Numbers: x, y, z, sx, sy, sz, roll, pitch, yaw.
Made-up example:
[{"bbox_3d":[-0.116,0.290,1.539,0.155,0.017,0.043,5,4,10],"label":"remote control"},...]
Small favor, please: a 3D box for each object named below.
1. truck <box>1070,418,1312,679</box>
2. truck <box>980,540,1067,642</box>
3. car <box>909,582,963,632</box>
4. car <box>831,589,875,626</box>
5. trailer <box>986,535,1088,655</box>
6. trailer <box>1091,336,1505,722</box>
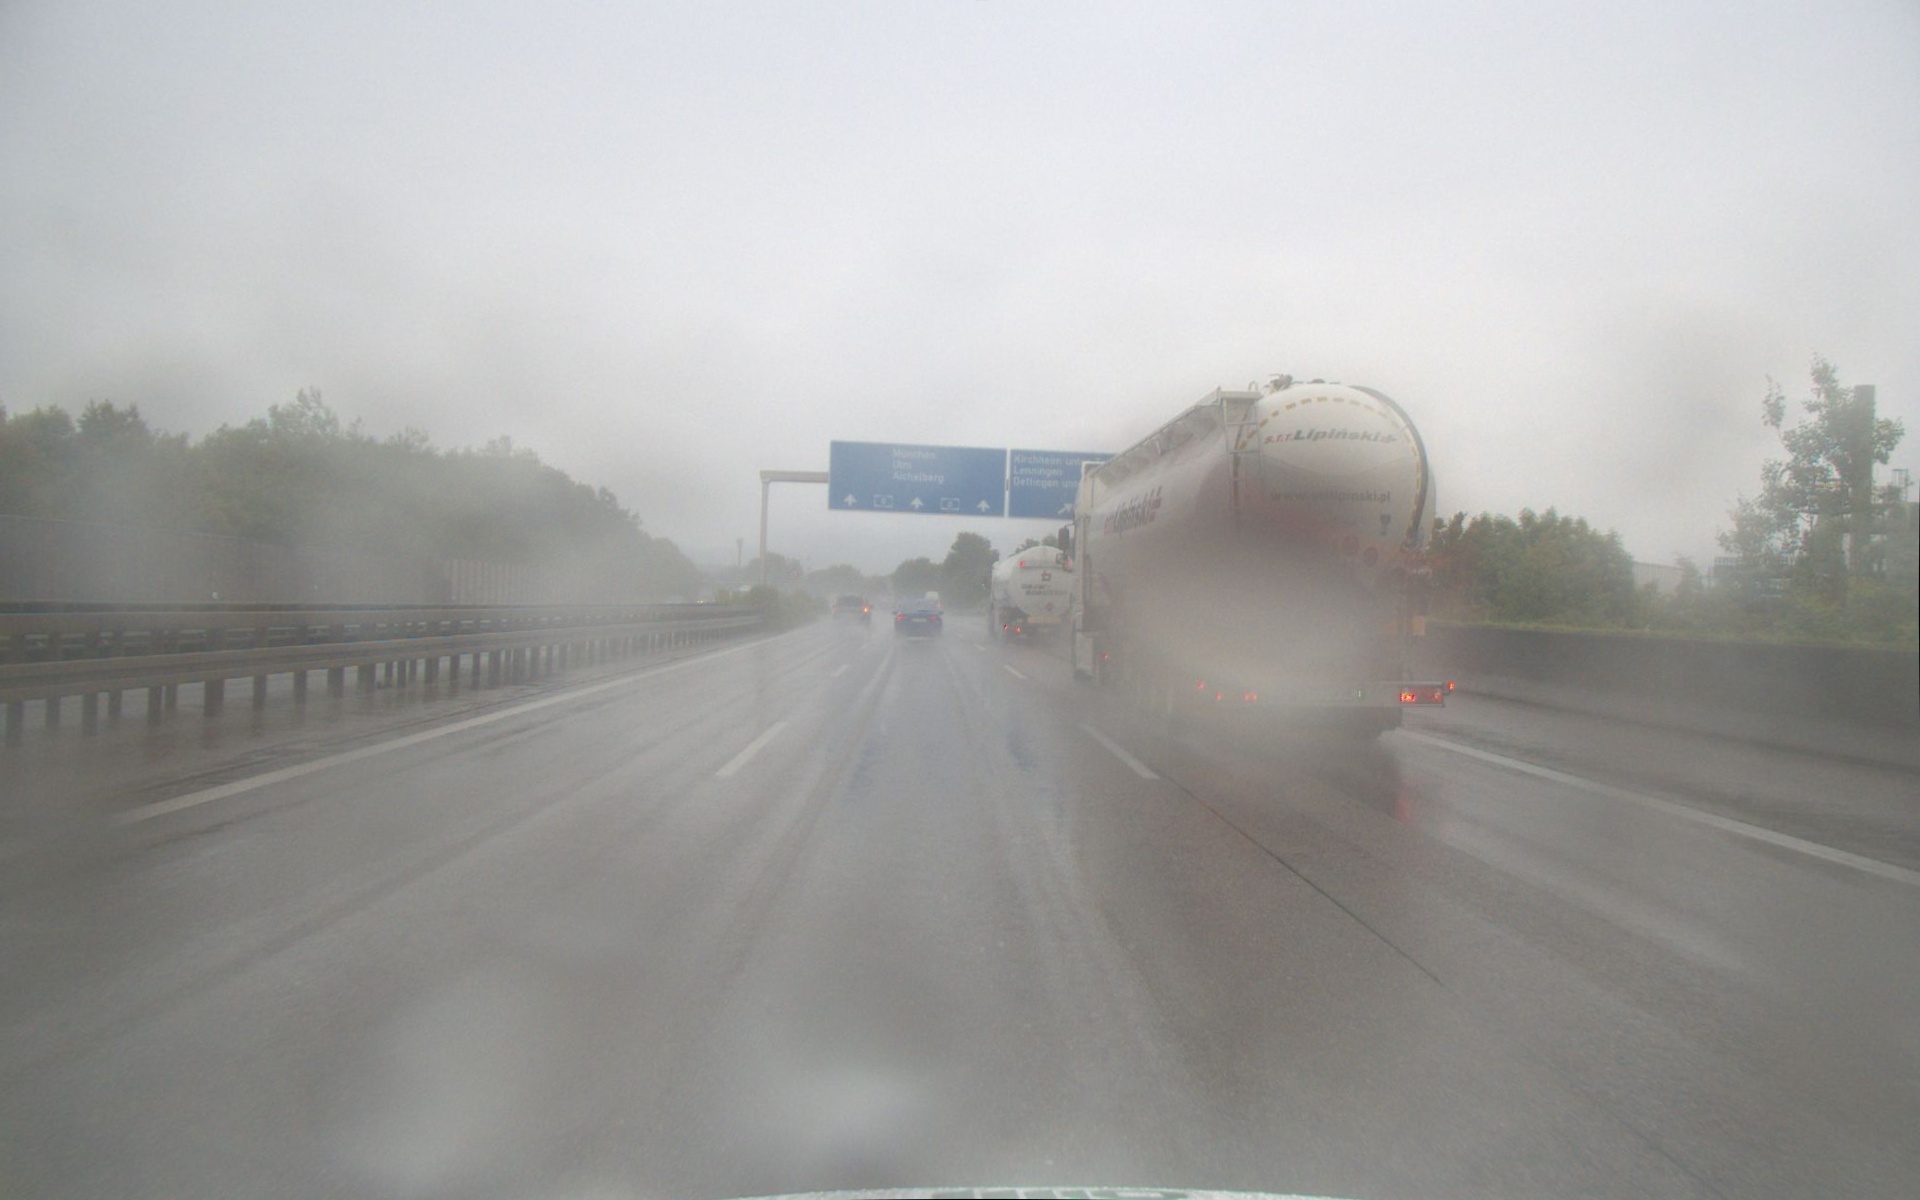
[{"bbox_3d":[3.720,-0.788,28.517,3.041,3.873,7.211,1,0,-1],"label":"truck"},{"bbox_3d":[2.404,-0.337,64.736,2.884,3.749,6.358,1,0,-2],"label":"truck"},{"bbox_3d":[-0.872,0.242,61.230,1.938,1.787,4.481,1,0,-1],"label":"car"},{"bbox_3d":[-5.307,0.360,82.740,1.886,1.771,4.403,1,0,0],"label":"car"},{"bbox_3d":[2.619,-0.172,59.048,2.944,3.915,8.620,1,0,-2],"label":"trailer"},{"bbox_3d":[3.789,-0.724,22.090,3.123,3.734,11.666,1,0,0],"label":"trailer"}]
